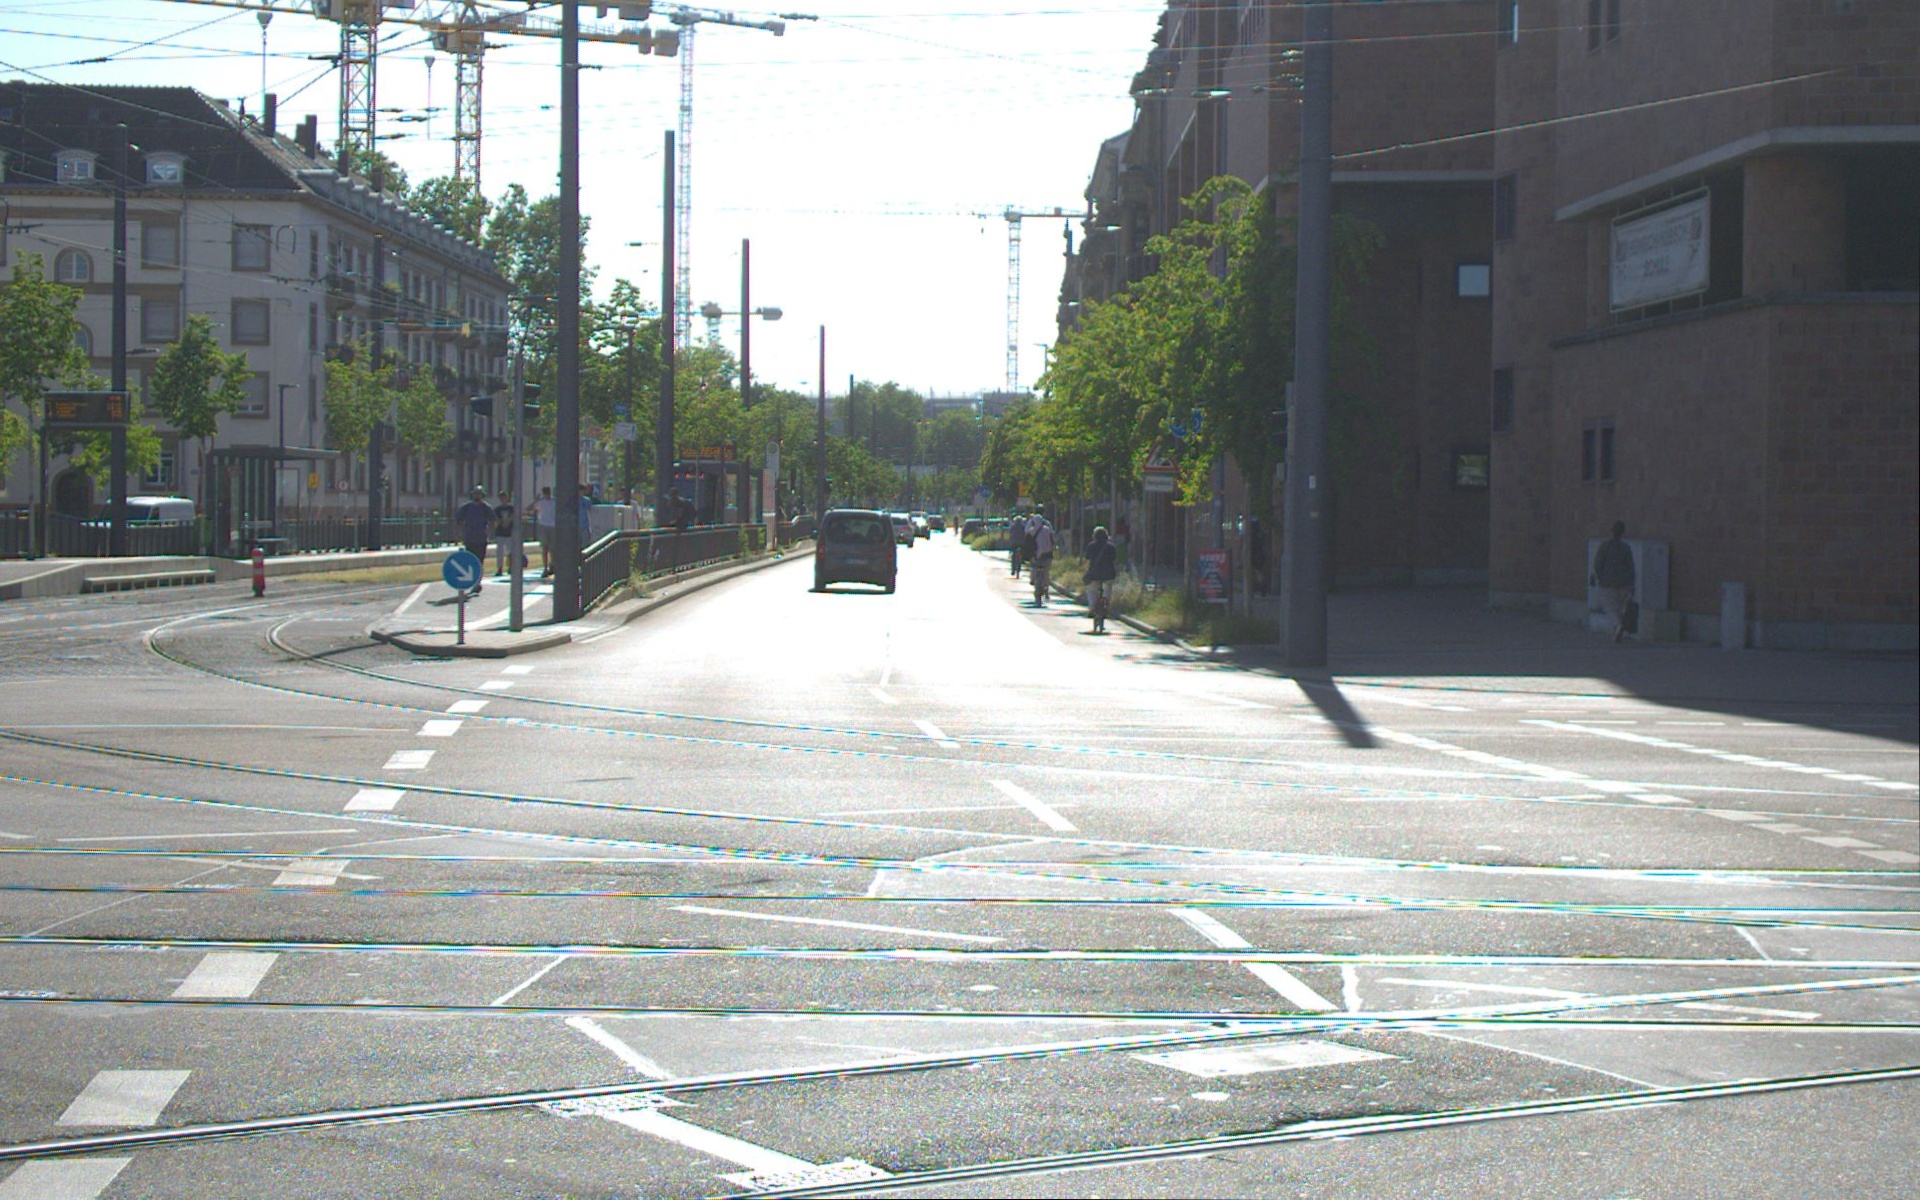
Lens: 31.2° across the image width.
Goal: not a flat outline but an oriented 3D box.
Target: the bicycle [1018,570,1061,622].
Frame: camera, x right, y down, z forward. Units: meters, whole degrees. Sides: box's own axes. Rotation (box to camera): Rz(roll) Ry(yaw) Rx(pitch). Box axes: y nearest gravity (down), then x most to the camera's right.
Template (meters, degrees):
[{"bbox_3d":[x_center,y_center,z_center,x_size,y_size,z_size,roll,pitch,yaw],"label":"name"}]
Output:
[{"bbox_3d":[1.580,-0.094,68.597,0.667,0.982,2.586,1,1,-2],"label":"bicycle"}]

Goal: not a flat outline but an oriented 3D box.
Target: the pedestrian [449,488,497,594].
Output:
[{"bbox_3d":[-7.768,-0.948,54.813,0.614,1.663,0.864,-2,2,-3],"label":"pedestrian"}]

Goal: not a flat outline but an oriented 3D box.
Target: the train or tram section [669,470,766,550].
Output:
[{"bbox_3d":[-9.629,-3.587,137.812,2.327,2.993,13.160,2,1,2],"label":"train or tram section"}]

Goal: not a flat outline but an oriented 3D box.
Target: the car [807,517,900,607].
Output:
[{"bbox_3d":[-2.372,-0.853,76.099,1.993,1.941,4.001,0,1,-2],"label":"car"}]

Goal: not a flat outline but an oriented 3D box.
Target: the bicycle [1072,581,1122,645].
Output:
[{"bbox_3d":[2.210,0.201,55.626,0.603,0.982,2.315,1,1,-2],"label":"bicycle"}]

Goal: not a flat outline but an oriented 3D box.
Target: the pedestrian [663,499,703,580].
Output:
[{"bbox_3d":[-5.920,-1.297,73.572,0.716,1.729,0.602,0,1,-19],"label":"pedestrian"}]

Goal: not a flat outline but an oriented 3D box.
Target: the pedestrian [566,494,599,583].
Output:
[{"bbox_3d":[-7.073,-1.151,64.422,0.538,1.649,0.896,0,1,-2],"label":"pedestrian"}]

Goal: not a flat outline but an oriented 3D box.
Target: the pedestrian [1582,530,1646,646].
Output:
[{"bbox_3d":[8.885,-0.170,46.706,0.617,1.558,0.987,0,1,-3],"label":"pedestrian"}]

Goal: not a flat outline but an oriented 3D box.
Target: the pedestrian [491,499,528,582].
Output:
[{"bbox_3d":[-8.481,-1.120,64.756,0.600,1.561,0.914,0,1,-2],"label":"pedestrian"}]

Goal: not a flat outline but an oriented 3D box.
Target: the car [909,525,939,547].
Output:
[{"bbox_3d":[-2.438,-4.290,231.050,1.993,1.415,4.000,0,1,-1],"label":"car"}]

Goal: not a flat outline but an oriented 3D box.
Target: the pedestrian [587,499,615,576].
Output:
[{"bbox_3d":[-7.680,-1.342,73.600,0.538,1.649,0.633,0,1,-2],"label":"pedestrian"}]

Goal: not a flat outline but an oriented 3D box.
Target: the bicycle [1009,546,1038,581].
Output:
[{"bbox_3d":[1.820,-1.047,99.324,0.667,0.982,2.586,1,1,-2],"label":"bicycle"}]

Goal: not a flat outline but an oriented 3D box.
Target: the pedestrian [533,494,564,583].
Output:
[{"bbox_3d":[-7.710,-1.153,64.379,0.510,1.649,0.762,0,1,-2],"label":"pedestrian"}]

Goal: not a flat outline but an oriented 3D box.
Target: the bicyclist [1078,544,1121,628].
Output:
[{"bbox_3d":[2.235,-0.232,55.147,0.592,1.331,0.933,1,1,-2],"label":"bicyclist"}]

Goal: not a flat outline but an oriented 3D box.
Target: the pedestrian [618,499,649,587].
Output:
[{"bbox_3d":[-6.168,-1.079,64.908,0.538,1.649,0.706,0,1,-2],"label":"pedestrian"}]

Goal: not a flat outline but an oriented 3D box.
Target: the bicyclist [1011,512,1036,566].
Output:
[{"bbox_3d":[1.828,-1.764,99.237,0.667,1.521,0.707,1,1,-2],"label":"bicyclist"}]

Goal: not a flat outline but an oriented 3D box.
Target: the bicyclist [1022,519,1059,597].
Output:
[{"bbox_3d":[1.597,-0.838,68.495,0.667,1.521,0.707,1,1,-2],"label":"bicyclist"}]

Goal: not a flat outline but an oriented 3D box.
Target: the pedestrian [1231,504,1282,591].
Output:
[{"bbox_3d":[5.897,-1.052,68.487,0.880,1.711,0.931,0,1,-2],"label":"pedestrian"}]

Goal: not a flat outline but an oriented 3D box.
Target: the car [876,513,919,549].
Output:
[{"bbox_3d":[-3.086,-3.380,168.629,1.993,1.722,4.001,1,1,-3],"label":"car"}]

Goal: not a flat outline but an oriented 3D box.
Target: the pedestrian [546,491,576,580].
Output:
[{"bbox_3d":[-7.992,-1.287,68.814,0.538,1.767,0.633,0,1,-2],"label":"pedestrian"}]
